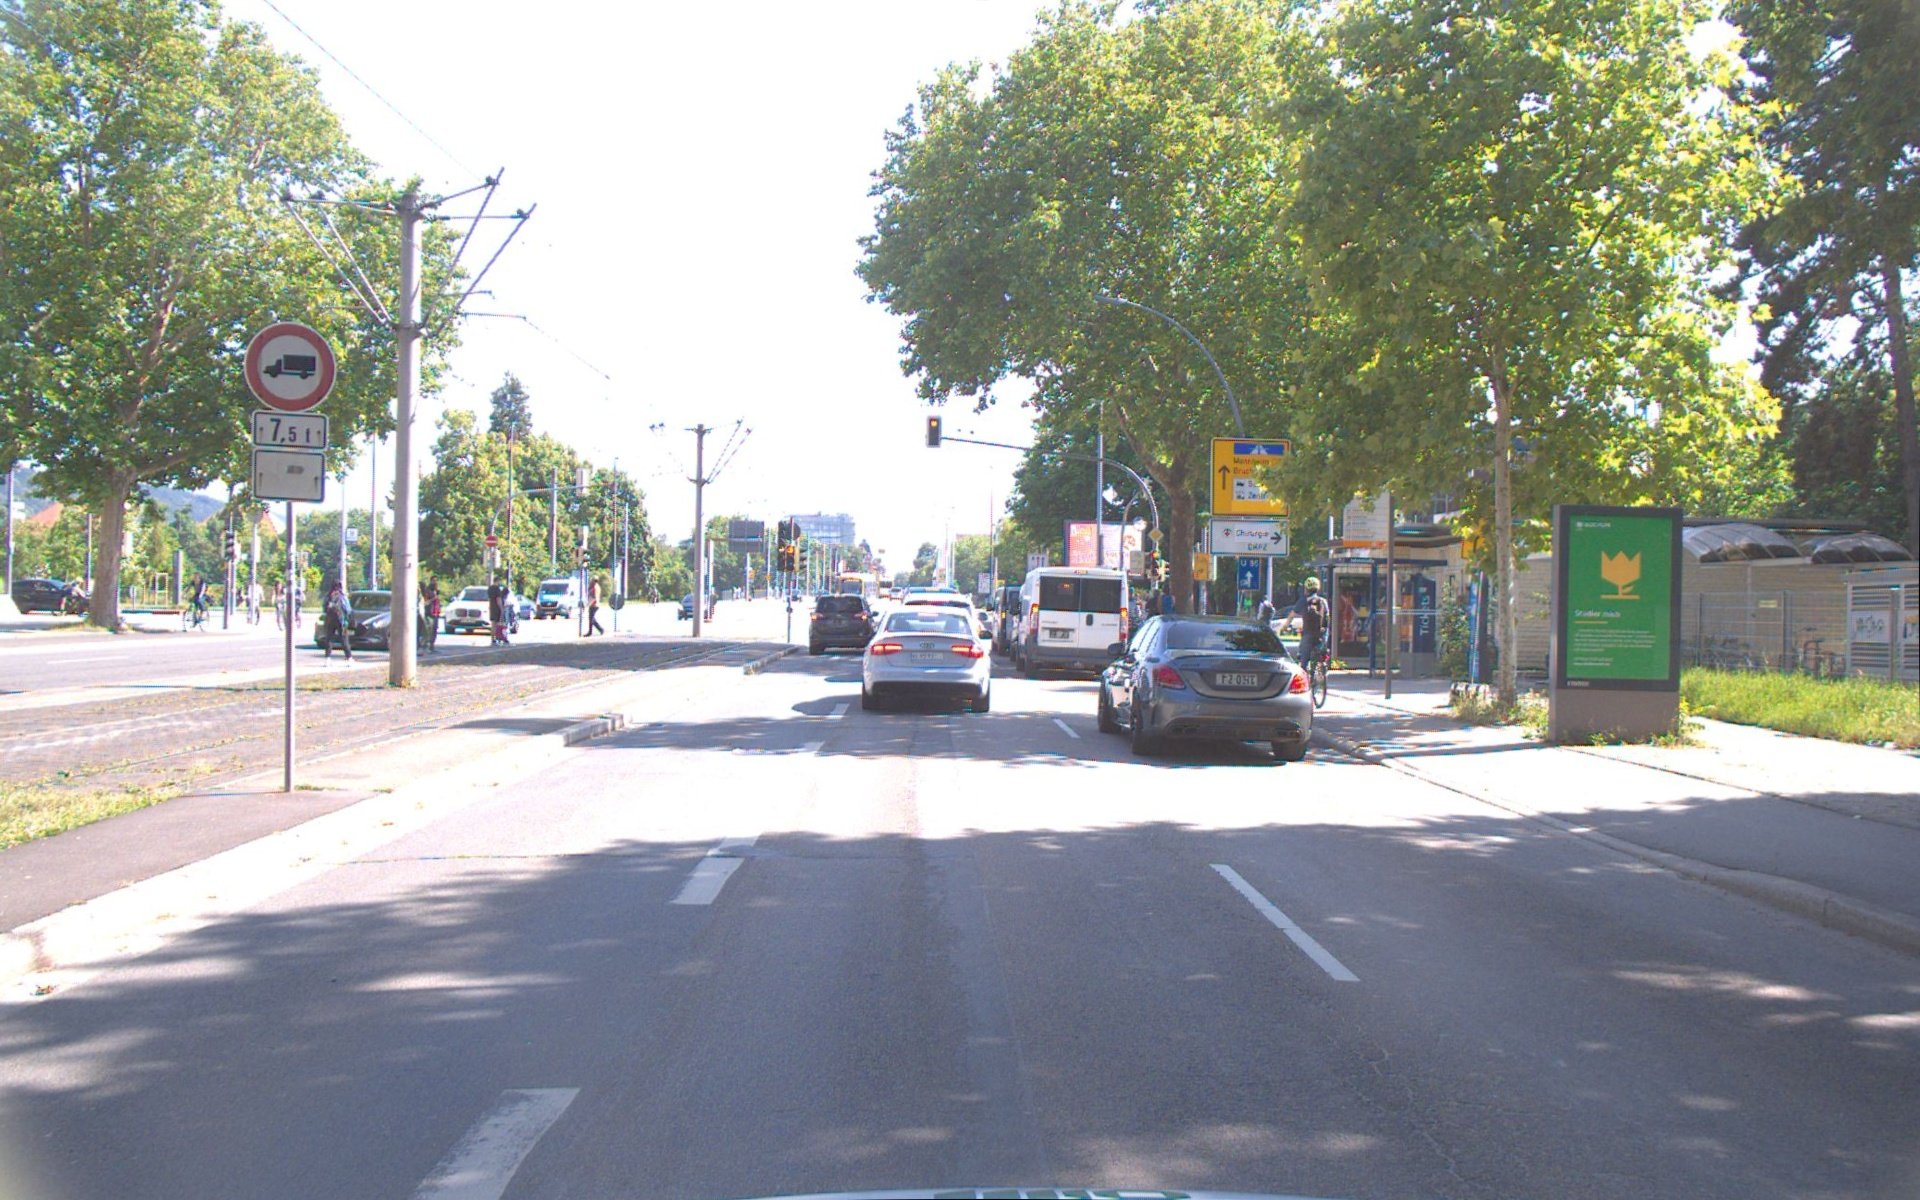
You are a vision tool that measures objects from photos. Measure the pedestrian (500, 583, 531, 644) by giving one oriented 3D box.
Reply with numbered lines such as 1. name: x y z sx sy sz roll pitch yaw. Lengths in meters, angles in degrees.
1. pedestrian: -12.019 0.355 44.731 0.526 1.626 0.578 1 0 18

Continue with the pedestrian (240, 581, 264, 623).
1. pedestrian: -26.863 0.064 62.783 0.610 1.569 0.644 1 0 -2

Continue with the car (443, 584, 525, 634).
1. car: -16.332 0.298 56.936 1.728 1.637 3.859 2 0 -1

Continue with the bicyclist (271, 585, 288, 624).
1. bicyclist: -23.536 0.153 57.189 0.377 1.334 0.465 2 0 -1

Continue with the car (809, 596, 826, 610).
1. car: -17.733 0.429 206.027 1.954 1.670 3.998 2 0 -3

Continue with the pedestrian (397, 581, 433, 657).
1. pedestrian: -12.177 0.427 36.954 0.581 1.675 0.554 2 0 -1

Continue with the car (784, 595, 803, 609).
1. car: -19.965 0.226 198.252 1.954 1.670 3.998 2 0 -3

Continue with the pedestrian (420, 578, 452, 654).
1. pedestrian: -12.079 0.363 38.120 0.482 1.708 0.643 2 0 -1

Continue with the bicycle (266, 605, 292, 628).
1. bicycle: -23.553 0.564 57.190 0.412 0.761 1.146 2 0 -1

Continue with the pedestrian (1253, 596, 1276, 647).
1. pedestrian: 11.006 0.764 59.721 0.761 1.819 0.764 1 0 11

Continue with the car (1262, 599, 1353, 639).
1. car: 15.798 0.874 75.293 3.700 1.701 1.793 2 0 -1

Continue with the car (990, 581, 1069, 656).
1. car: 1.983 0.527 48.351 2.030 2.034 4.057 2 0 -1

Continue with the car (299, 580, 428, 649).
1. car: -15.145 0.359 42.225 1.833 1.637 3.999 2 0 -1

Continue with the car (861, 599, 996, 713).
1. car: -0.452 0.737 23.709 1.748 1.445 3.884 2 0 -1

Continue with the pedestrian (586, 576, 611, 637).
1. pedestrian: -11.791 0.221 53.937 0.611 1.952 0.689 2 0 -1

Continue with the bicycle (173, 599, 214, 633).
1. bicycle: -23.059 0.475 49.765 0.474 0.978 1.654 1 0 -1

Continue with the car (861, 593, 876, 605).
1. car: -13.228 -0.167 238.166 1.832 1.637 4.000 2 0 1

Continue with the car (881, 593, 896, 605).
1. car: -10.329 -0.139 238.194 1.832 1.637 4.000 2 0 1

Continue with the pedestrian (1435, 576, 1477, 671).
1. pedestrian: 10.230 0.485 34.128 0.601 1.929 0.694 1 0 -4

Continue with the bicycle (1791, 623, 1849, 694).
1. bicycle: 15.188 1.020 29.239 0.381 1.201 1.173 2 0 -1

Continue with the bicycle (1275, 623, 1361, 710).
1. bicycle: 5.240 0.954 24.334 0.700 1.168 2.177 -1 0 -2

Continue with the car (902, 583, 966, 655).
1. car: -0.756 0.512 47.373 1.694 1.935 3.999 2 0 -1

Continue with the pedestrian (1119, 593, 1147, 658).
1. pedestrian: 4.659 0.678 44.576 0.590 1.724 0.953 -1 0 -1

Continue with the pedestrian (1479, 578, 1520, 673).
1. pedestrian: 11.136 0.524 34.174 0.601 1.929 0.597 1 0 -4

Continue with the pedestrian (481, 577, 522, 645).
1. pedestrian: -12.191 0.286 43.967 0.758 1.764 0.755 1 0 7

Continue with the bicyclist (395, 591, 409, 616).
1. bicyclist: -30.028 0.173 88.984 0.464 1.314 0.496 1 0 27

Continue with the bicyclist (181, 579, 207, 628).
1. bicyclist: -23.058 0.101 49.786 0.470 1.441 0.592 1 0 -2

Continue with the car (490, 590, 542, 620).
1. car: -24.220 0.270 90.280 1.792 1.546 3.945 2 0 -1

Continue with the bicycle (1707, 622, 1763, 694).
1. bicycle: 13.475 0.993 28.766 0.381 1.201 1.173 2 0 -1

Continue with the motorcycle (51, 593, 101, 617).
1. motorcycle: -35.117 0.188 65.718 1.610 0.906 0.650 1 0 -1

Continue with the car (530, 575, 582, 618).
1. car: -23.752 -0.201 97.348 2.071 2.424 3.999 1 0 -1

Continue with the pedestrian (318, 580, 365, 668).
1. pedestrian: -11.772 0.459 31.471 0.748 1.651 0.589 2 0 -27

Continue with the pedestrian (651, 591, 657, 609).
1. pedestrian: -26.664 0.004 144.080 0.412 1.576 0.552 1 0 -1

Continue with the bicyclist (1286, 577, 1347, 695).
1. bicyclist: 5.215 0.509 24.224 0.621 1.677 0.979 -1 0 -2

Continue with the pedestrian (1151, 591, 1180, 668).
1. pedestrian: 5.352 0.758 43.118 0.622 1.980 0.719 2 0 -1

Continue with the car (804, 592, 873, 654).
1. car: -3.429 0.628 47.165 1.694 1.659 3.999 2 0 -1

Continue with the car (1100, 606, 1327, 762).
1. car: 2.624 0.825 17.988 1.746 1.445 3.999 2 0 -1

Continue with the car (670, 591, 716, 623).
1. car: -15.073 0.392 93.525 1.953 1.764 3.999 2 0 -1

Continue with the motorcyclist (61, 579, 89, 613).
1. motorcyclist: -35.171 -0.164 65.721 0.737 1.337 0.604 1 0 -1

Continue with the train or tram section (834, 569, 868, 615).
1. train or tram section: -9.946 -0.718 151.067 2.563 4.085 7.747 2 0 -1

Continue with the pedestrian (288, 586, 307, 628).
1. pedestrian: -24.996 0.261 62.372 0.614 1.569 0.777 2 0 -24

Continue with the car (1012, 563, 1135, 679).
1. car: 2.322 0.416 35.047 2.185 2.250 4.161 2 0 -1

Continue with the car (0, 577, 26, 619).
1. car: -38.498 -0.121 63.874 3.769 1.576 1.769 2 0 -1

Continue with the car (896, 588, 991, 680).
1. car: -0.343 0.629 32.180 1.694 1.633 3.884 2 0 -1
